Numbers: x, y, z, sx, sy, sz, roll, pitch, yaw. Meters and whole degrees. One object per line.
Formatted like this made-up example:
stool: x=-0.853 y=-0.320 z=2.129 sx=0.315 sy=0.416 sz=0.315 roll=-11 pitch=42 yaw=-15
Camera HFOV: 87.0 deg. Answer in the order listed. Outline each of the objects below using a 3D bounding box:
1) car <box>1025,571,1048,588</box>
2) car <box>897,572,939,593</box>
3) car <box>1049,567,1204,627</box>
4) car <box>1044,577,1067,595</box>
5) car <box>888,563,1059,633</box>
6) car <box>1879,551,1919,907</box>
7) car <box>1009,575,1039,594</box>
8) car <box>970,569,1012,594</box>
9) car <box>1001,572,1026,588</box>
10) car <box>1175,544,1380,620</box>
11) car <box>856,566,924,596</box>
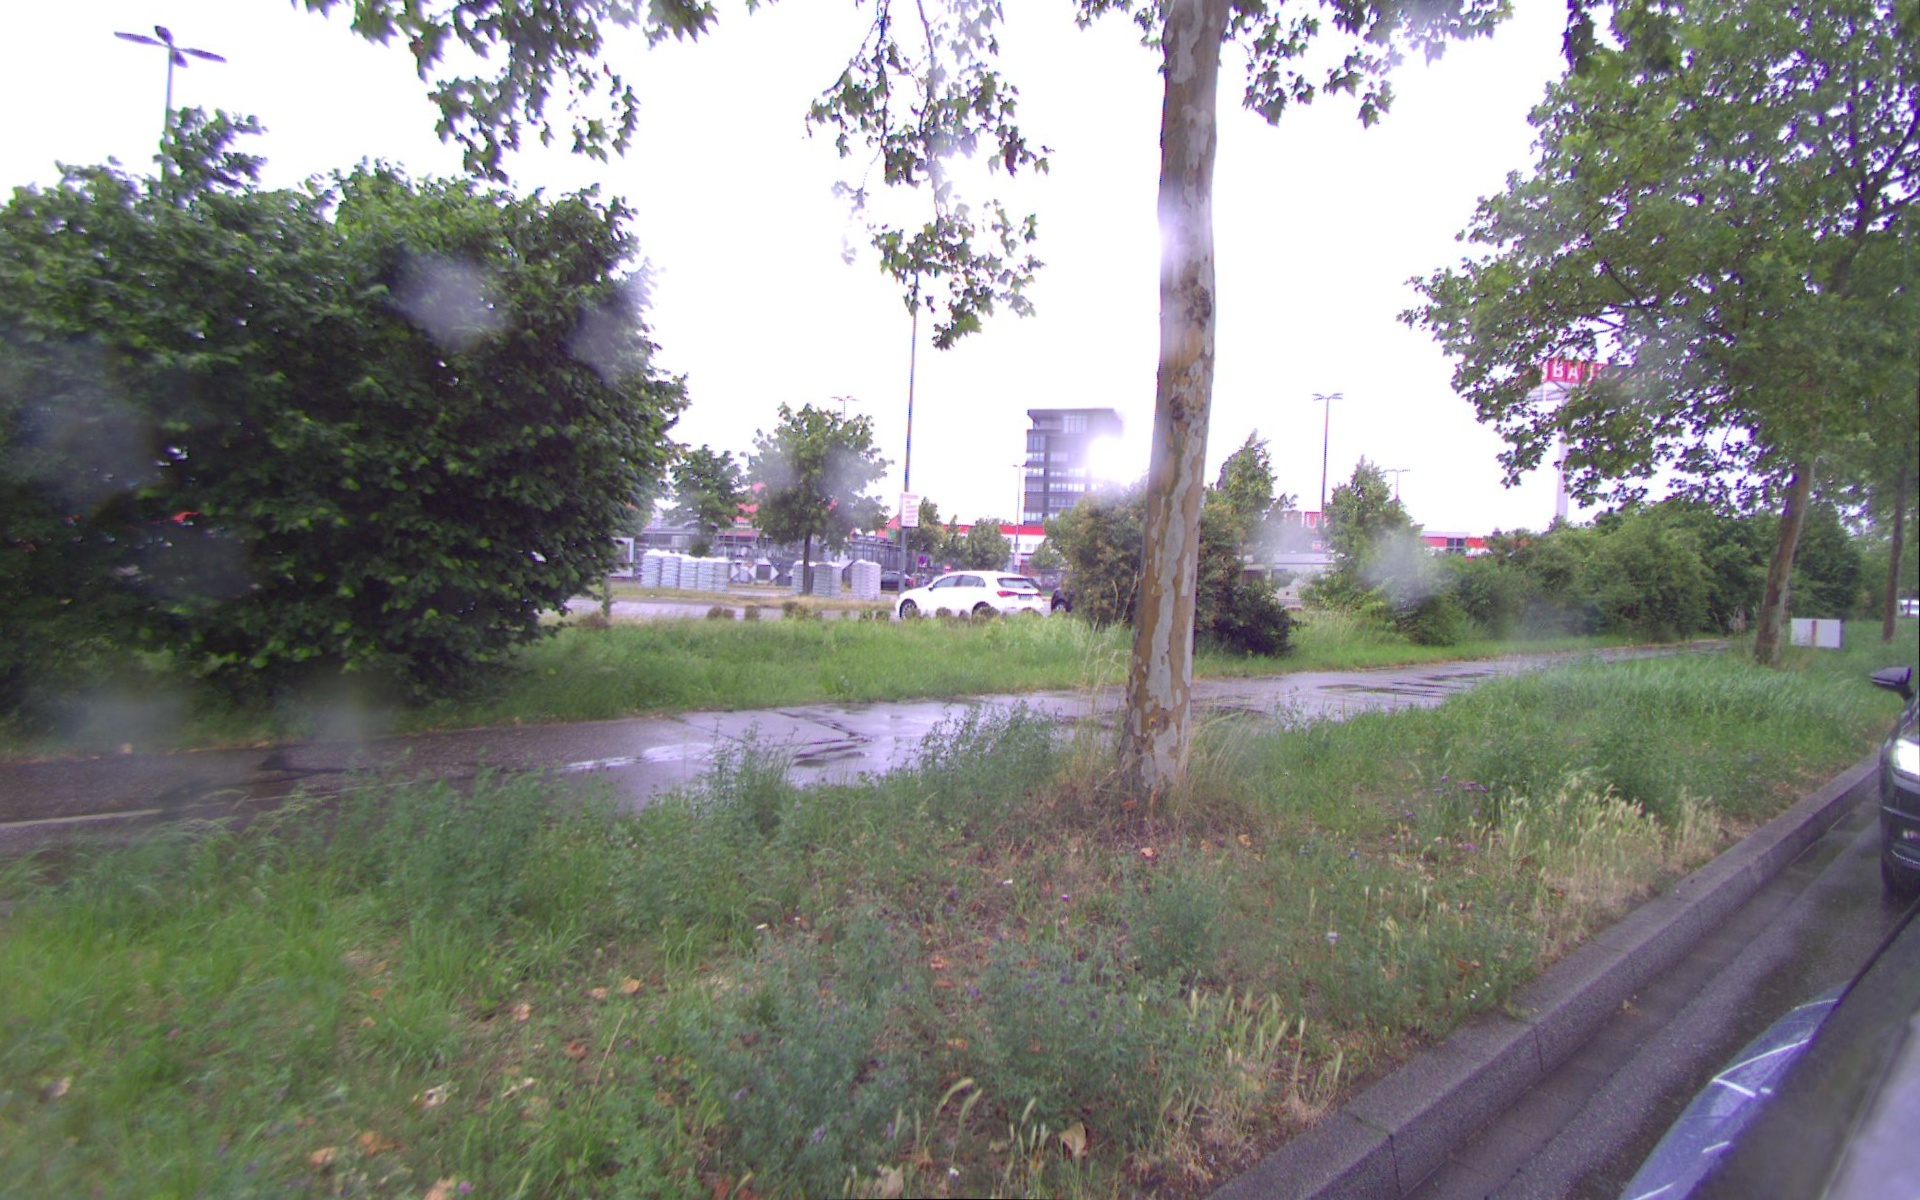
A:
car: x=8.483 y=-2.281 z=111.905 sx=1.973 sy=1.697 sz=4.257 roll=2 pitch=2 yaw=13
car: x=-3.240 y=-1.391 z=79.017 sx=1.905 sy=1.571 sz=4.249 roll=2 pitch=2 yaw=18
car: x=4.917 y=-0.144 z=30.300 sx=4.262 sy=1.571 sz=1.899 roll=3 pitch=2 yaw=45
car: x=9.298 y=-1.382 z=98.249 sx=1.970 sy=1.697 sz=4.264 roll=2 pitch=2 yaw=9
car: x=0.277 y=-0.103 z=25.944 sx=4.262 sy=1.571 sz=1.899 roll=3 pitch=2 yaw=45
car: x=6.549 y=0.588 z=5.620 sx=4.548 sy=1.625 sz=1.768 roll=0 pitch=0 yaw=-43
car: x=6.015 y=-1.443 z=94.728 sx=1.973 sy=1.697 sz=4.255 roll=2 pitch=2 yaw=14
car: x=2.123 y=-1.239 z=68.004 sx=1.903 sy=1.571 sz=4.254 roll=2 pitch=2 yaw=15
car: x=5.988 y=-2.273 z=112.505 sx=1.973 sy=1.697 sz=4.257 roll=2 pitch=2 yaw=13
car: x=10.942 y=-0.695 z=35.289 sx=6.399 sy=2.392 sz=2.357 roll=3 pitch=2 yaw=41
car: x=-4.161 y=-1.122 z=60.393 sx=3.723 sy=1.739 sz=1.685 roll=0 pitch=0 yaw=13
